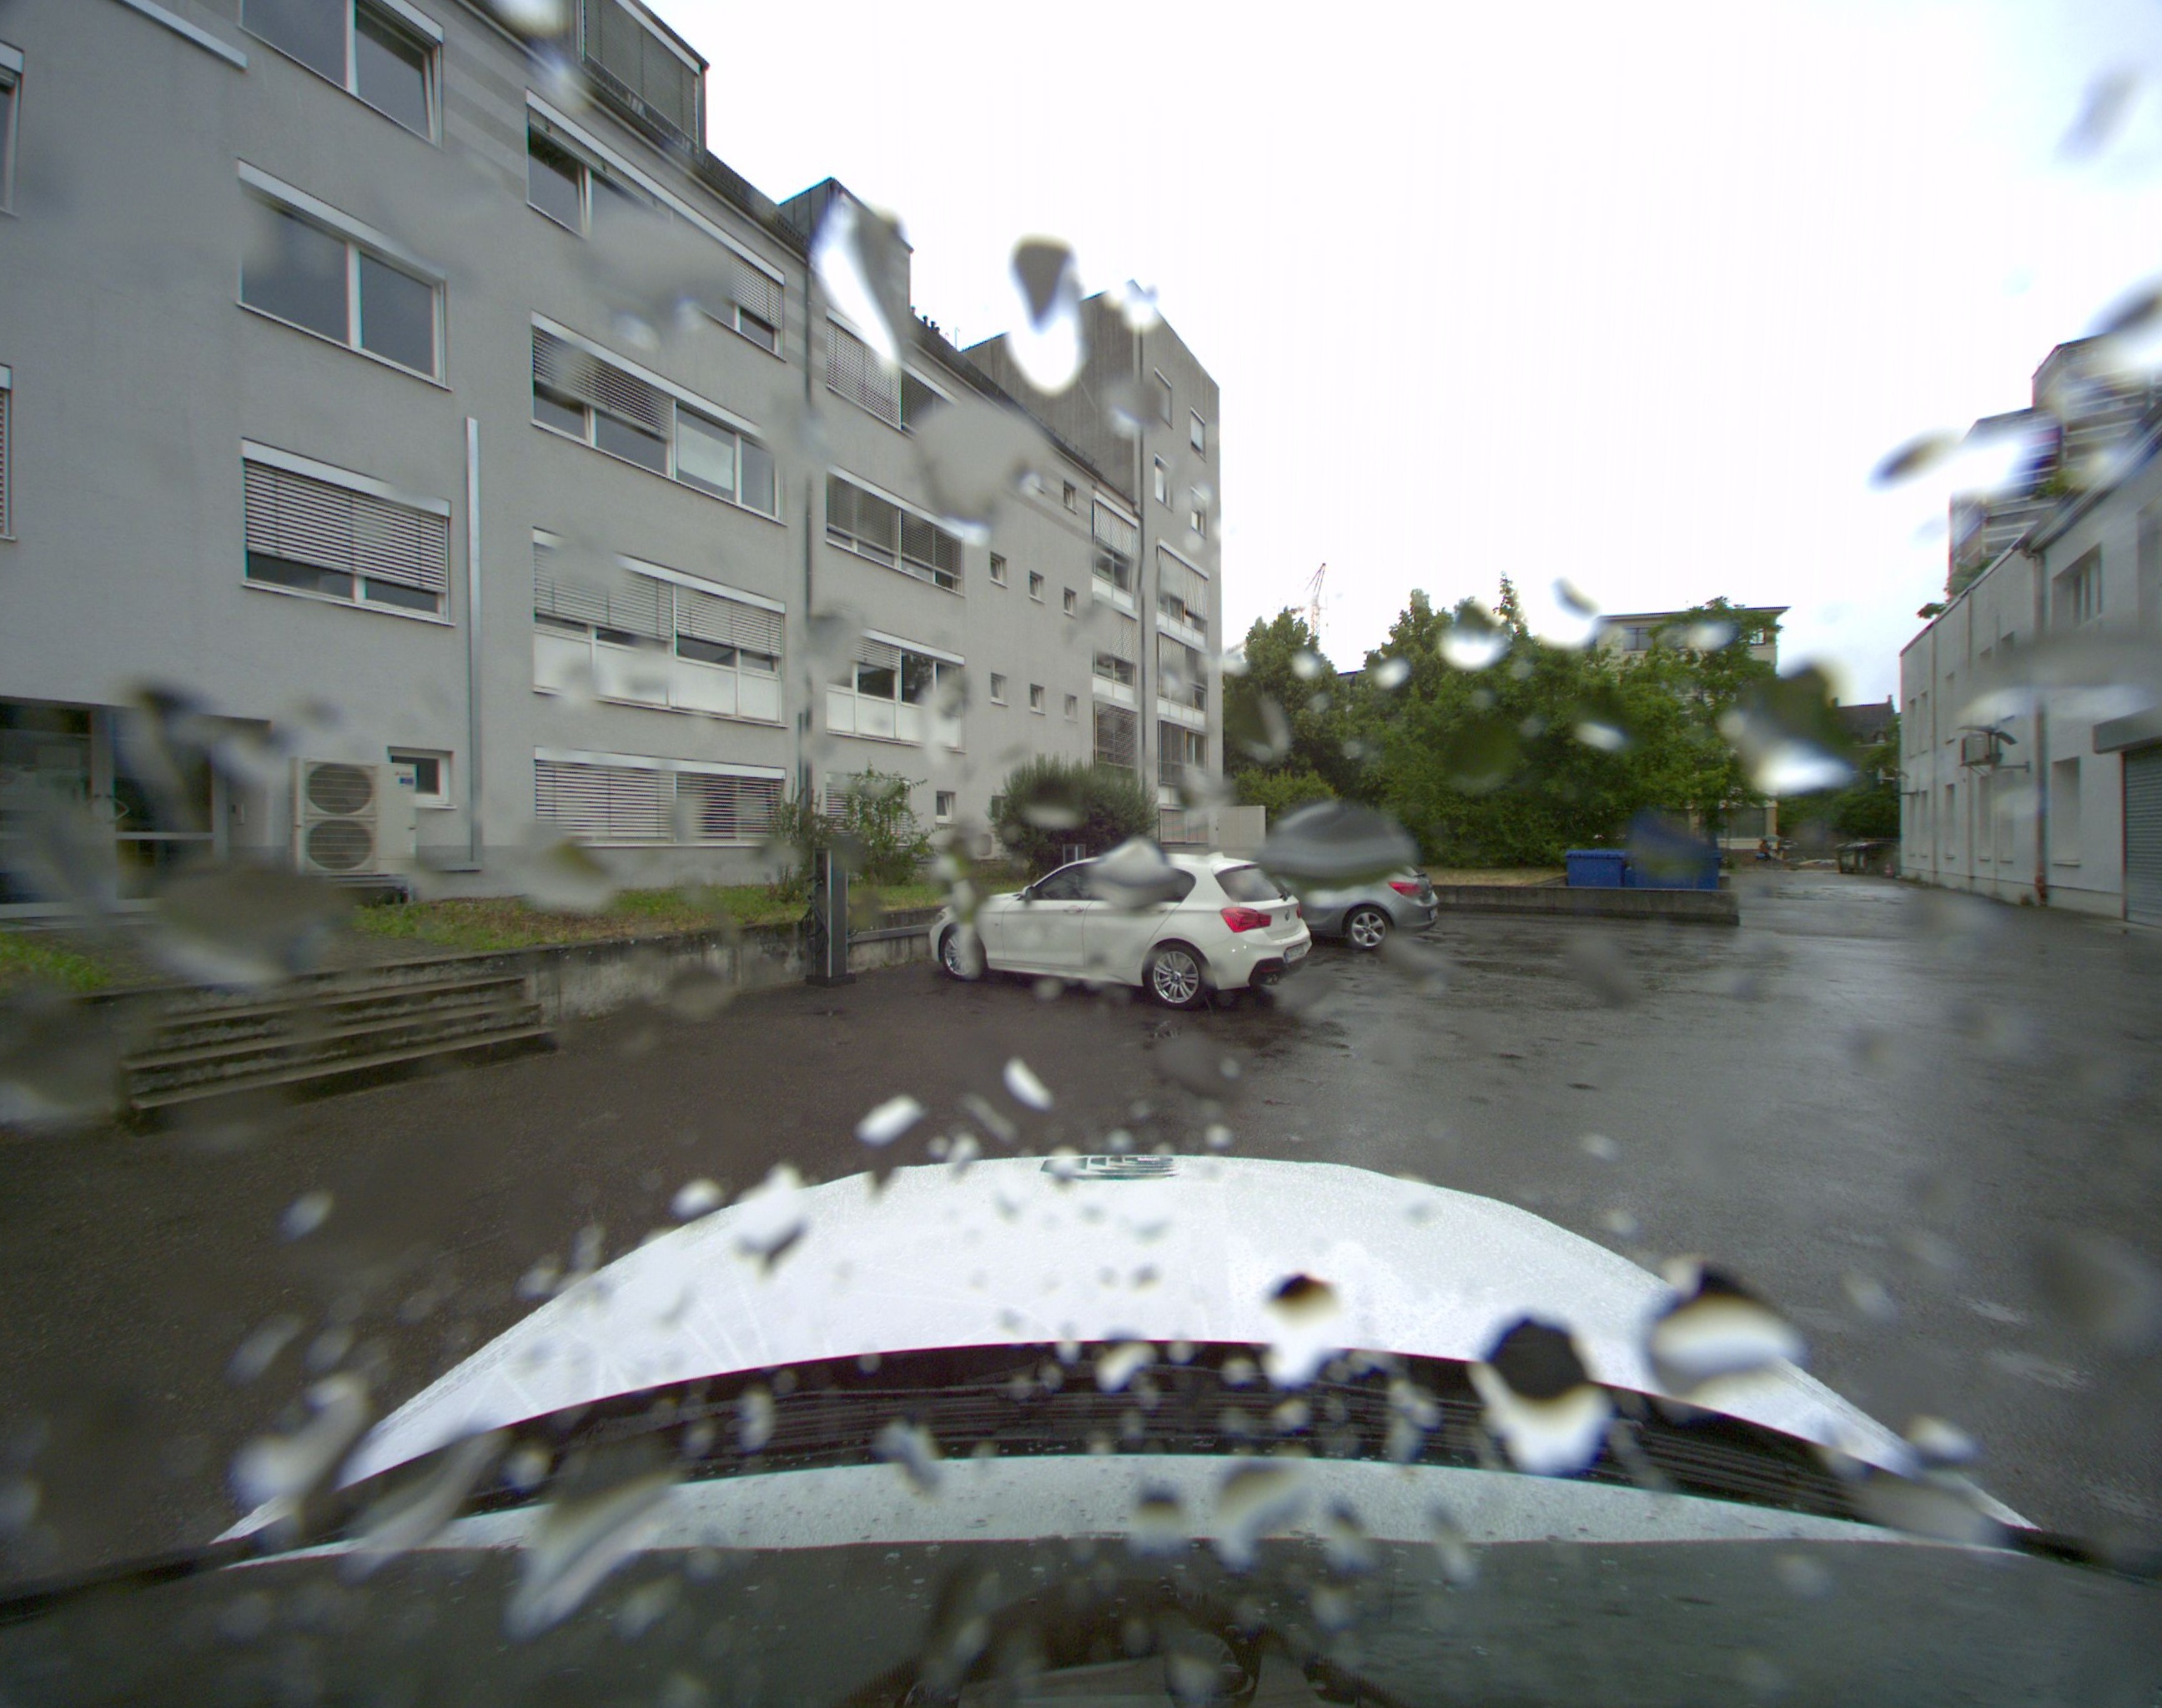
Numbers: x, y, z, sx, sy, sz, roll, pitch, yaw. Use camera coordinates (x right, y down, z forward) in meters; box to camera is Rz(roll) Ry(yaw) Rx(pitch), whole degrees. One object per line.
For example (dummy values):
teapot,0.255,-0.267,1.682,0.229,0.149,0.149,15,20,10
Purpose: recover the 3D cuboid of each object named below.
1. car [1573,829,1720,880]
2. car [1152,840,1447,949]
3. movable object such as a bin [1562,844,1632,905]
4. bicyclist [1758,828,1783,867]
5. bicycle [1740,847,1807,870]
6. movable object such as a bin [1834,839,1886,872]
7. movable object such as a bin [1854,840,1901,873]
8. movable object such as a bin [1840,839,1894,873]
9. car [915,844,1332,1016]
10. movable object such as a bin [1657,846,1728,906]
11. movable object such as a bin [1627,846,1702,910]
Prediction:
car,22.592,0.096,32.628,4.637,1.882,2.136,-2,-3,40
car,3.463,0.561,13.139,4.166,1.489,2.013,0,0,34
movable object such as a bin,12.210,0.486,19.236,1.217,1.358,1.983,-2,-2,37
bicyclist,36.277,-0.357,42.840,0.703,2.013,0.748,0,1,8
bicycle,36.412,0.243,42.830,2.715,1.186,0.739,-1,0,8
movable object such as a bin,35.990,0.097,37.677,1.473,1.448,1.322,-1,-2,32
movable object such as a bin,34.385,0.131,35.177,1.173,1.374,1.322,-1,-2,32
movable object such as a bin,35.244,0.098,36.542,1.473,1.448,1.322,-1,-2,32
car,0.390,0.659,9.039,4.166,1.489,2.013,0,0,34
movable object such as a bin,14.779,0.537,19.705,1.297,1.358,1.917,-2,-2,37
movable object such as a bin,13.225,0.550,18.442,1.297,1.358,1.917,-2,-2,37
